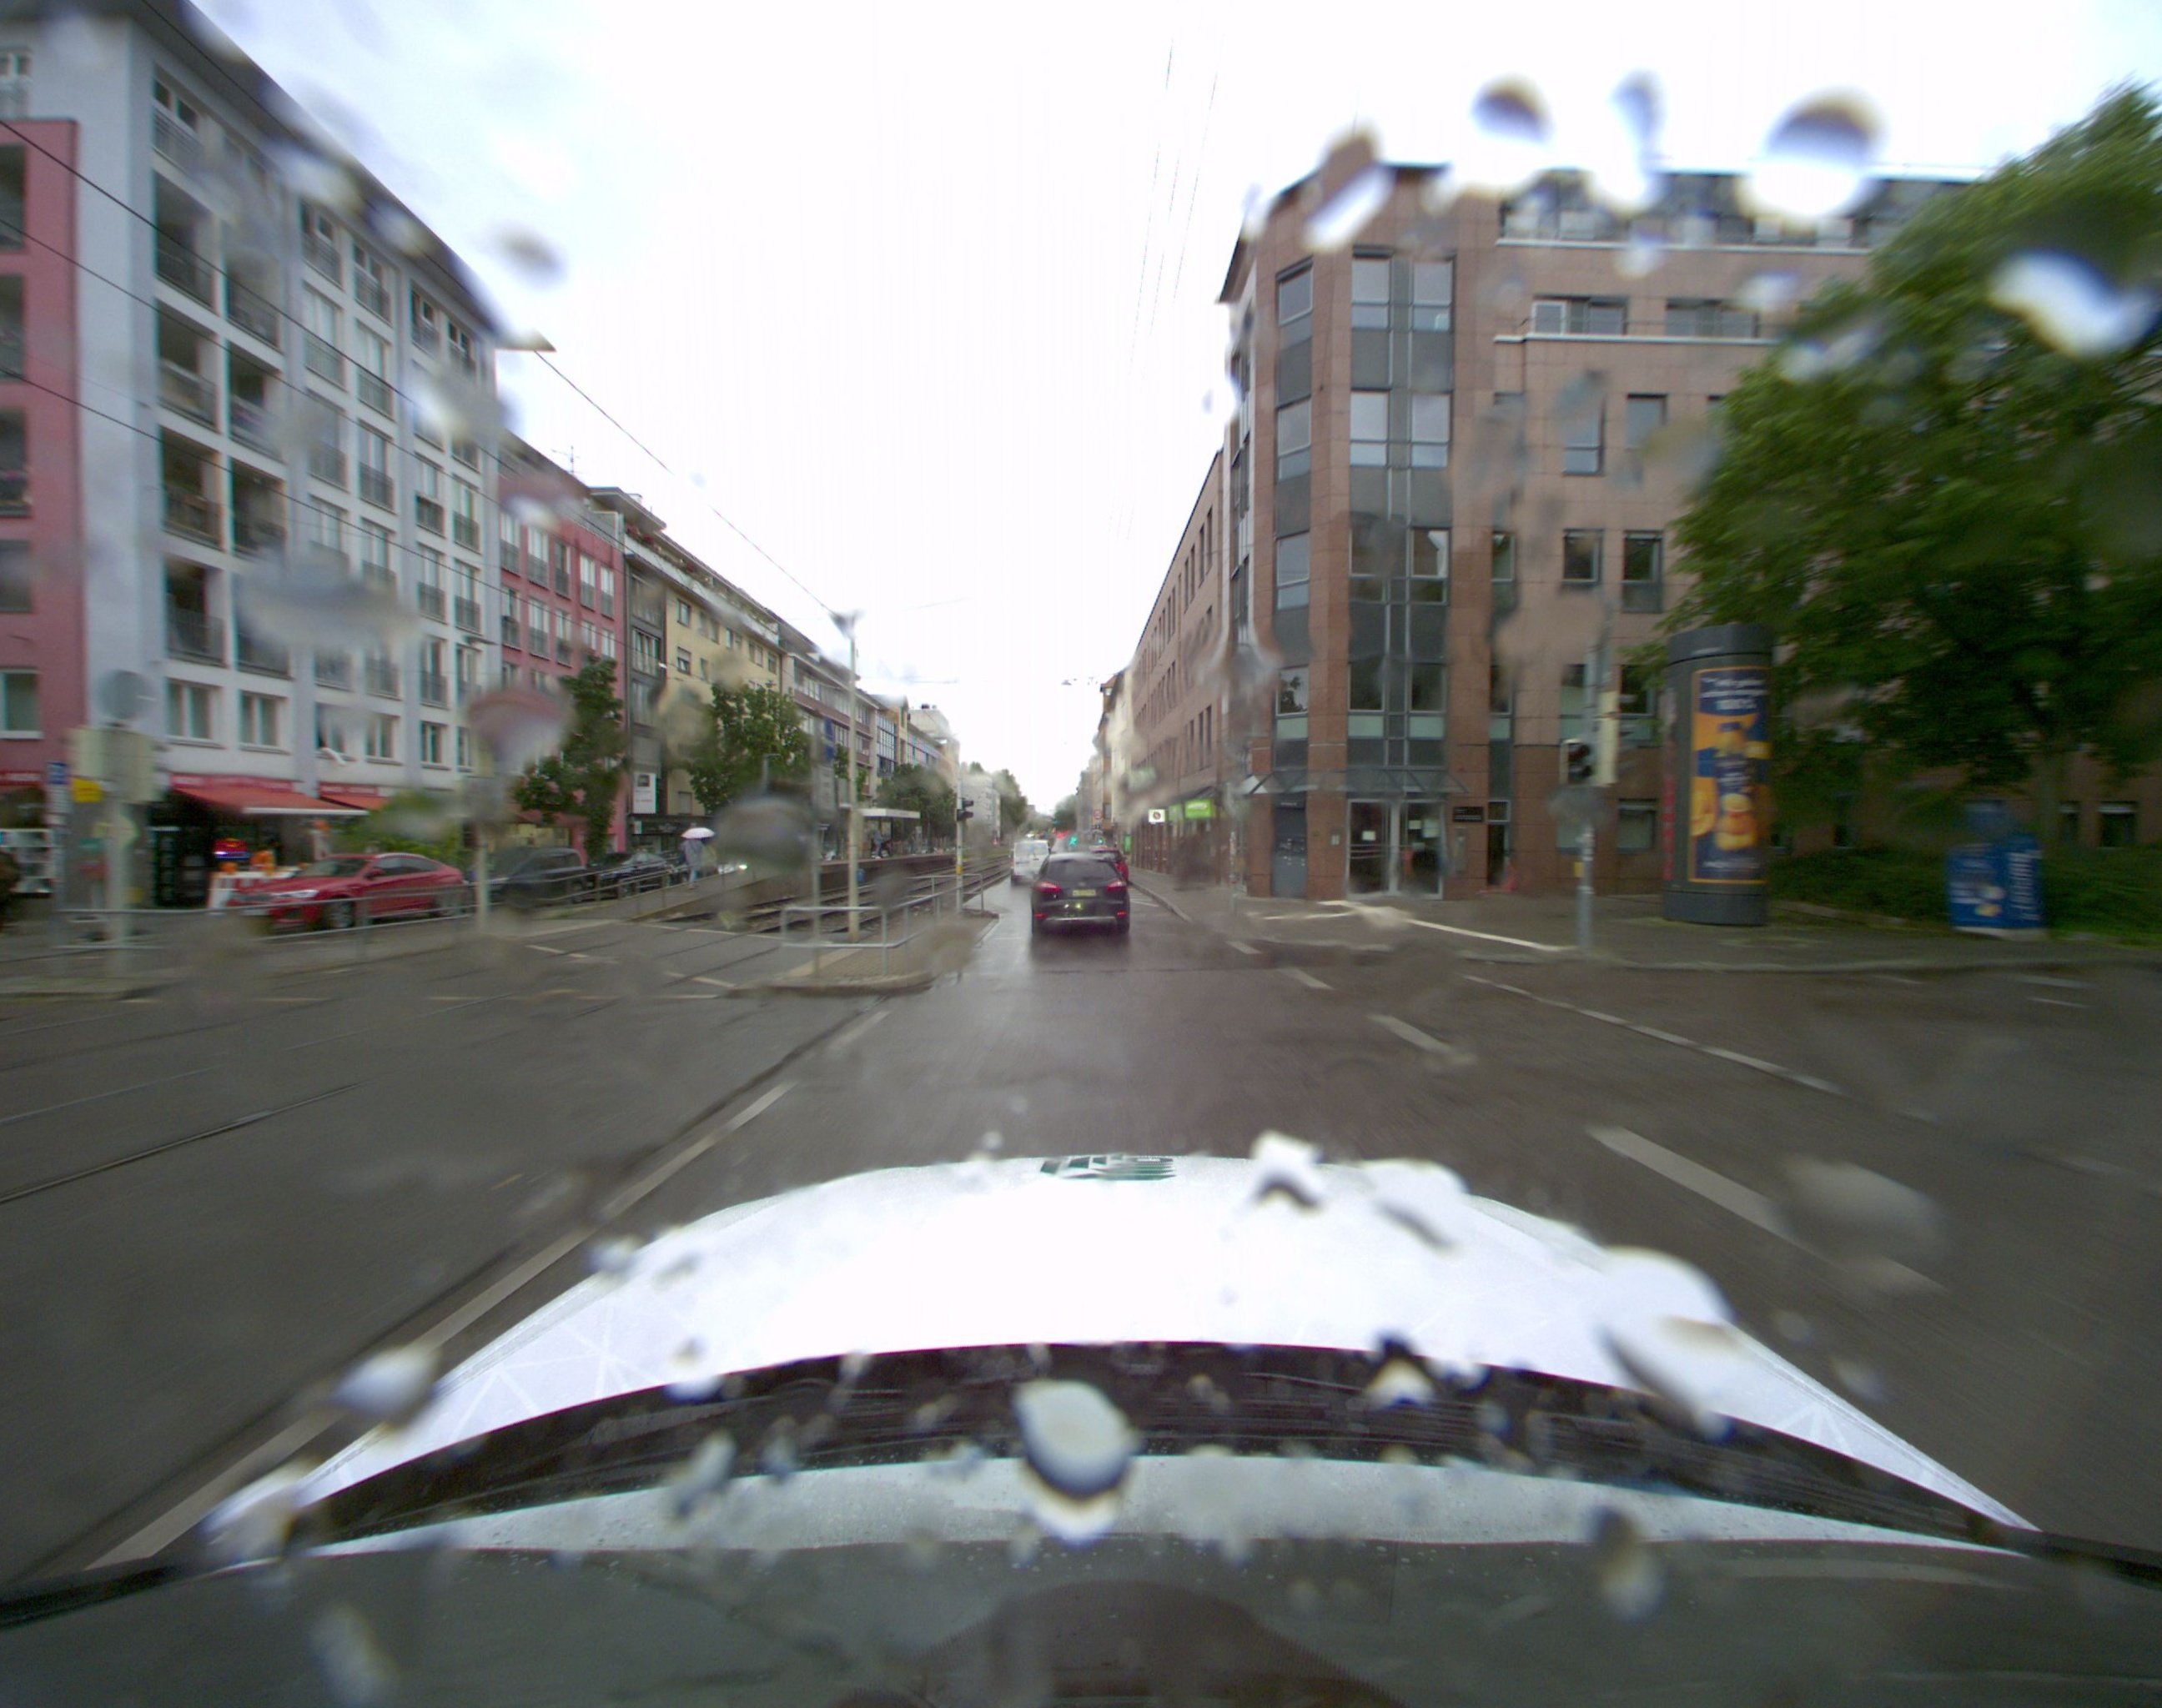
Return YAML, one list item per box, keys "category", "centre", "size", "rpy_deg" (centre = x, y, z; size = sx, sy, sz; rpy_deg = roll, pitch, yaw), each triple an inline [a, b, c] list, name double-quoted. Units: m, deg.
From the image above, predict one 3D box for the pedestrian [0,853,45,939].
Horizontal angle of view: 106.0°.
- category: "pedestrian"
  centre: [-21.422, 0.825, 16.162]
  size: [0.871, 1.631, 0.812]
  rpy_deg: [1, 2, 23]

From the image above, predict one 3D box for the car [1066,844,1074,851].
- category: "car"
  centre: [-2.756, -1.516, 203.406]
  size: [1.901, 1.633, 4.572]
  rpy_deg: [-1, 0, 0]

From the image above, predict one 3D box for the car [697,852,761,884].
- category: "car"
  centre: [-16.685, 0.628, 38.756]
  size: [1.565, 1.436, 3.973]
  rpy_deg: [-1, 0, -4]

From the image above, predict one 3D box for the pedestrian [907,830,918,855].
- category: "pedestrian"
  centre: [-12.262, -0.846, 59.379]
  size: [0.654, 1.801, 0.849]
  rpy_deg: [-1, 0, -4]

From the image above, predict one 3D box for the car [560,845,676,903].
- category: "car"
  centre: [-16.176, 0.628, 28.740]
  size: [1.799, 1.858, 4.375]
  rpy_deg: [-1, 0, -4]

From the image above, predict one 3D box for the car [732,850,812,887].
- category: "car"
  centre: [-14.248, 0.624, 37.858]
  size: [1.801, 1.578, 5.019]
  rpy_deg: [-1, 0, -1]

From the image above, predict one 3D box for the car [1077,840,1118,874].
- category: "car"
  centre: [0.732, 0.141, 38.271]
  size: [1.694, 1.462, 3.865]
  rpy_deg: [-3, 0, -1]

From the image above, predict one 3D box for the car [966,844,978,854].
- category: "car"
  centre: [-20.076, -0.919, 150.108]
  size: [1.903, 1.864, 4.566]
  rpy_deg: [-1, 0, -4]

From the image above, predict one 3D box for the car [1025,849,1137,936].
- category: "car"
  centre: [-0.024, 0.666, 15.716]
  size: [1.901, 1.462, 3.443]
  rpy_deg: [-1, 0, -1]

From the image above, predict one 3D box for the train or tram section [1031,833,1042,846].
- category: "train or tram section"
  centre: [-13.979, -4.540, 254.667]
  size: [3.506, 3.777, 11.316]
  rpy_deg: [-1, 0, -4]

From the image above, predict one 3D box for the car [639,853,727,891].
- category: "car"
  centre: [-16.697, 0.713, 34.399]
  size: [1.837, 1.436, 4.313]
  rpy_deg: [-1, 0, -4]

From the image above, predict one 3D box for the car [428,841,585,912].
- category: "car"
  centre: [-16.659, 0.577, 23.917]
  size: [1.704, 1.858, 4.315]
  rpy_deg: [-1, 0, -4]

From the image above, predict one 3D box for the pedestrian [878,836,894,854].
- category: "pedestrian"
  centre: [-12.083, -0.546, 50.459]
  size: [0.893, 1.123, 0.846]
  rpy_deg: [-1, 0, -12]

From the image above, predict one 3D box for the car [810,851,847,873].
- category: "car"
  centre: [-17.316, 0.515, 55.964]
  size: [1.565, 1.436, 3.730]
  rpy_deg: [-1, 0, -4]

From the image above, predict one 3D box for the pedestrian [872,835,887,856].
- category: "pedestrian"
  centre: [-11.937, -0.520, 48.363]
  size: [0.691, 1.249, 0.883]
  rpy_deg: [-1, 0, -4]

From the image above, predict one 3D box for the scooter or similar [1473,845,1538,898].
- category: "scooter or similar"
  centre: [10.180, 0.417, 19.537]
  size: [1.369, 1.227, 0.325]
  rpy_deg: [-1, 0, 1]

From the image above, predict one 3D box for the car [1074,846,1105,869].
- category: "car"
  centre: [0.515, 0.226, 55.504]
  size: [1.770, 1.468, 4.603]
  rpy_deg: [-1, 0, -4]

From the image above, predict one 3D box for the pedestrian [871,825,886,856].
- category: "pedestrian"
  centre: [-11.473, -0.777, 46.099]
  size: [0.654, 1.711, 0.849]
  rpy_deg: [-1, 0, -4]

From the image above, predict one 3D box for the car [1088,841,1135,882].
- category: "car"
  centre: [1.175, 0.284, 32.686]
  size: [1.693, 1.479, 3.866]
  rpy_deg: [-3, 0, 0]

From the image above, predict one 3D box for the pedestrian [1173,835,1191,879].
- category: "pedestrian"
  centre: [3.866, 0.111, 31.198]
  size: [0.600, 1.659, 0.625]
  rpy_deg: [-1, 0, -1]

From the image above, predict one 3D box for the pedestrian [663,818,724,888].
- category: "pedestrian"
  centre: [-11.493, -0.026, 24.201]
  size: [1.113, 2.013, 1.382]
  rpy_deg: [-1, 0, -2]

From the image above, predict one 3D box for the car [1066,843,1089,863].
- category: "car"
  centre: [-0.360, -0.073, 69.982]
  size: [1.802, 1.631, 5.166]
  rpy_deg: [-1, 0, -2]

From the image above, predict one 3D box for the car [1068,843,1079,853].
- category: "car"
  centre: [-1.246, -1.009, 141.447]
  size: [1.901, 1.633, 4.572]
  rpy_deg: [-1, 0, 0]

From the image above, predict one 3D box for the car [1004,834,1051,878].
- category: "car"
  centre: [-2.488, 0.097, 36.922]
  size: [1.904, 1.864, 4.563]
  rpy_deg: [-1, 0, -6]

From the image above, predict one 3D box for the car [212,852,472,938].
- category: "car"
  centre: [-16.501, 0.815, 18.582]
  size: [1.720, 1.611, 4.552]
  rpy_deg: [-1, 1, 0]
